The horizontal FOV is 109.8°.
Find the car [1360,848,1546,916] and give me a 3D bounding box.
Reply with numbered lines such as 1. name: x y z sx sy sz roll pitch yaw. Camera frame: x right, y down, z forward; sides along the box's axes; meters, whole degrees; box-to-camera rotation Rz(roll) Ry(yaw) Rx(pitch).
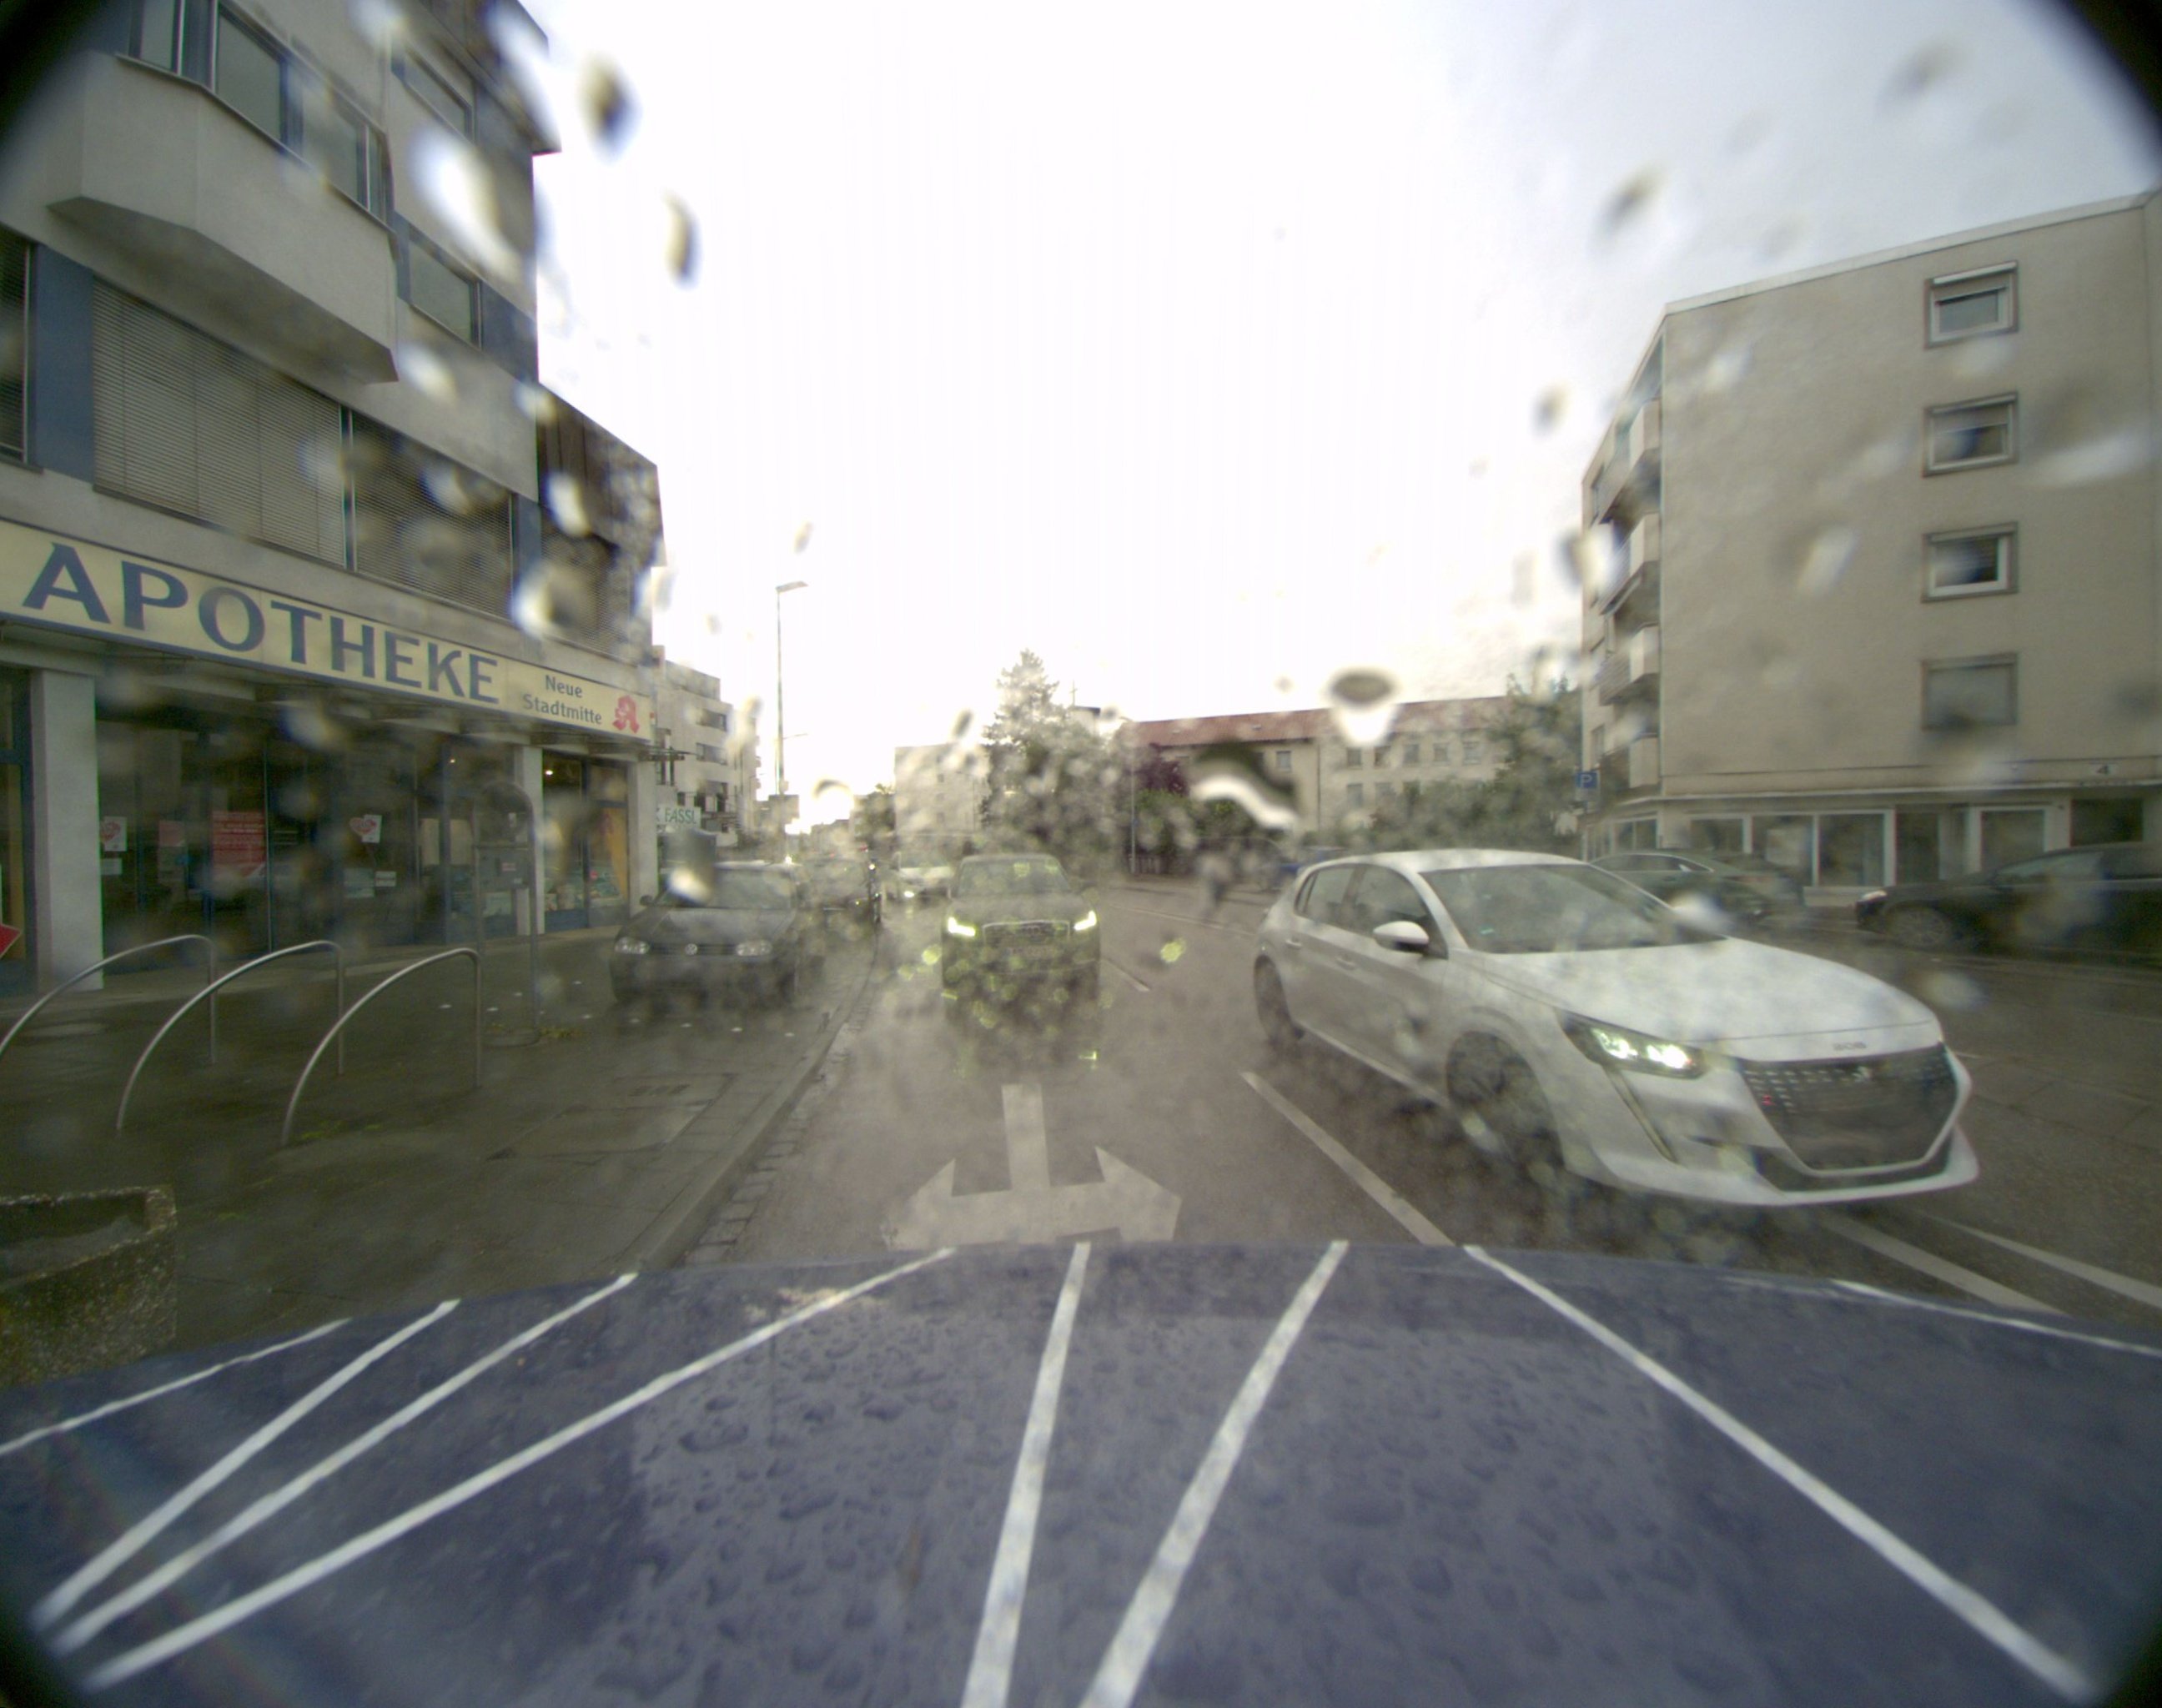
1. car: 9.310 0.621 19.471 1.639 1.491 4.338 -1 1 -21

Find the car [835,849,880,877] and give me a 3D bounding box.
1. car: -12.277 0.452 41.600 1.804 1.361 3.964 -1 2 -24

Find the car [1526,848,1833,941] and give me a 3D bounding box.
1. car: 11.147 0.638 14.572 1.839 1.426 4.266 -2 2 -21

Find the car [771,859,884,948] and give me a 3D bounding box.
1. car: -4.800 0.848 14.859 1.660 1.416 3.995 -1 1 -12

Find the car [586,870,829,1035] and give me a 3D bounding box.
1. car: -4.003 0.940 8.787 1.656 1.364 3.727 1 0 -12

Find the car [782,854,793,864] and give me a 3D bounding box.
1. car: -53.343 0.940 138.071 1.747 1.630 3.991 -1 1 -24

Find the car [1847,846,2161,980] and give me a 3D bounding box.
1. car: 12.923 0.668 9.605 1.839 1.451 4.180 -2 2 -21

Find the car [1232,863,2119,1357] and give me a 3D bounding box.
1. car: 2.428 0.825 4.419 1.744 1.401 3.892 -3 1 -9

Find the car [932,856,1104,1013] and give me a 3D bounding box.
1. car: -0.918 0.825 9.808 1.735 1.436 4.042 -2 2 -8

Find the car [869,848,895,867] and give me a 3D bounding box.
1. car: -16.838 0.264 64.116 1.753 1.446 3.806 -1 2 -20

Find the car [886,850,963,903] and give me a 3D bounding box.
1. car: -5.044 0.653 24.061 1.736 1.519 4.056 -1 0 -21

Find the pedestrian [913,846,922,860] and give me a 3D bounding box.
1. pedestrian: -20.395 -0.072 94.908 0.857 1.726 0.834 -1 2 -29

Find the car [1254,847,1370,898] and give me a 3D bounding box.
1. car: 7.419 0.531 24.781 1.636 1.497 3.873 -1 1 -20

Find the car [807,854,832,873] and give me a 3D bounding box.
1. car: -24.111 0.820 70.027 2.002 1.606 3.993 -3 1 -20
